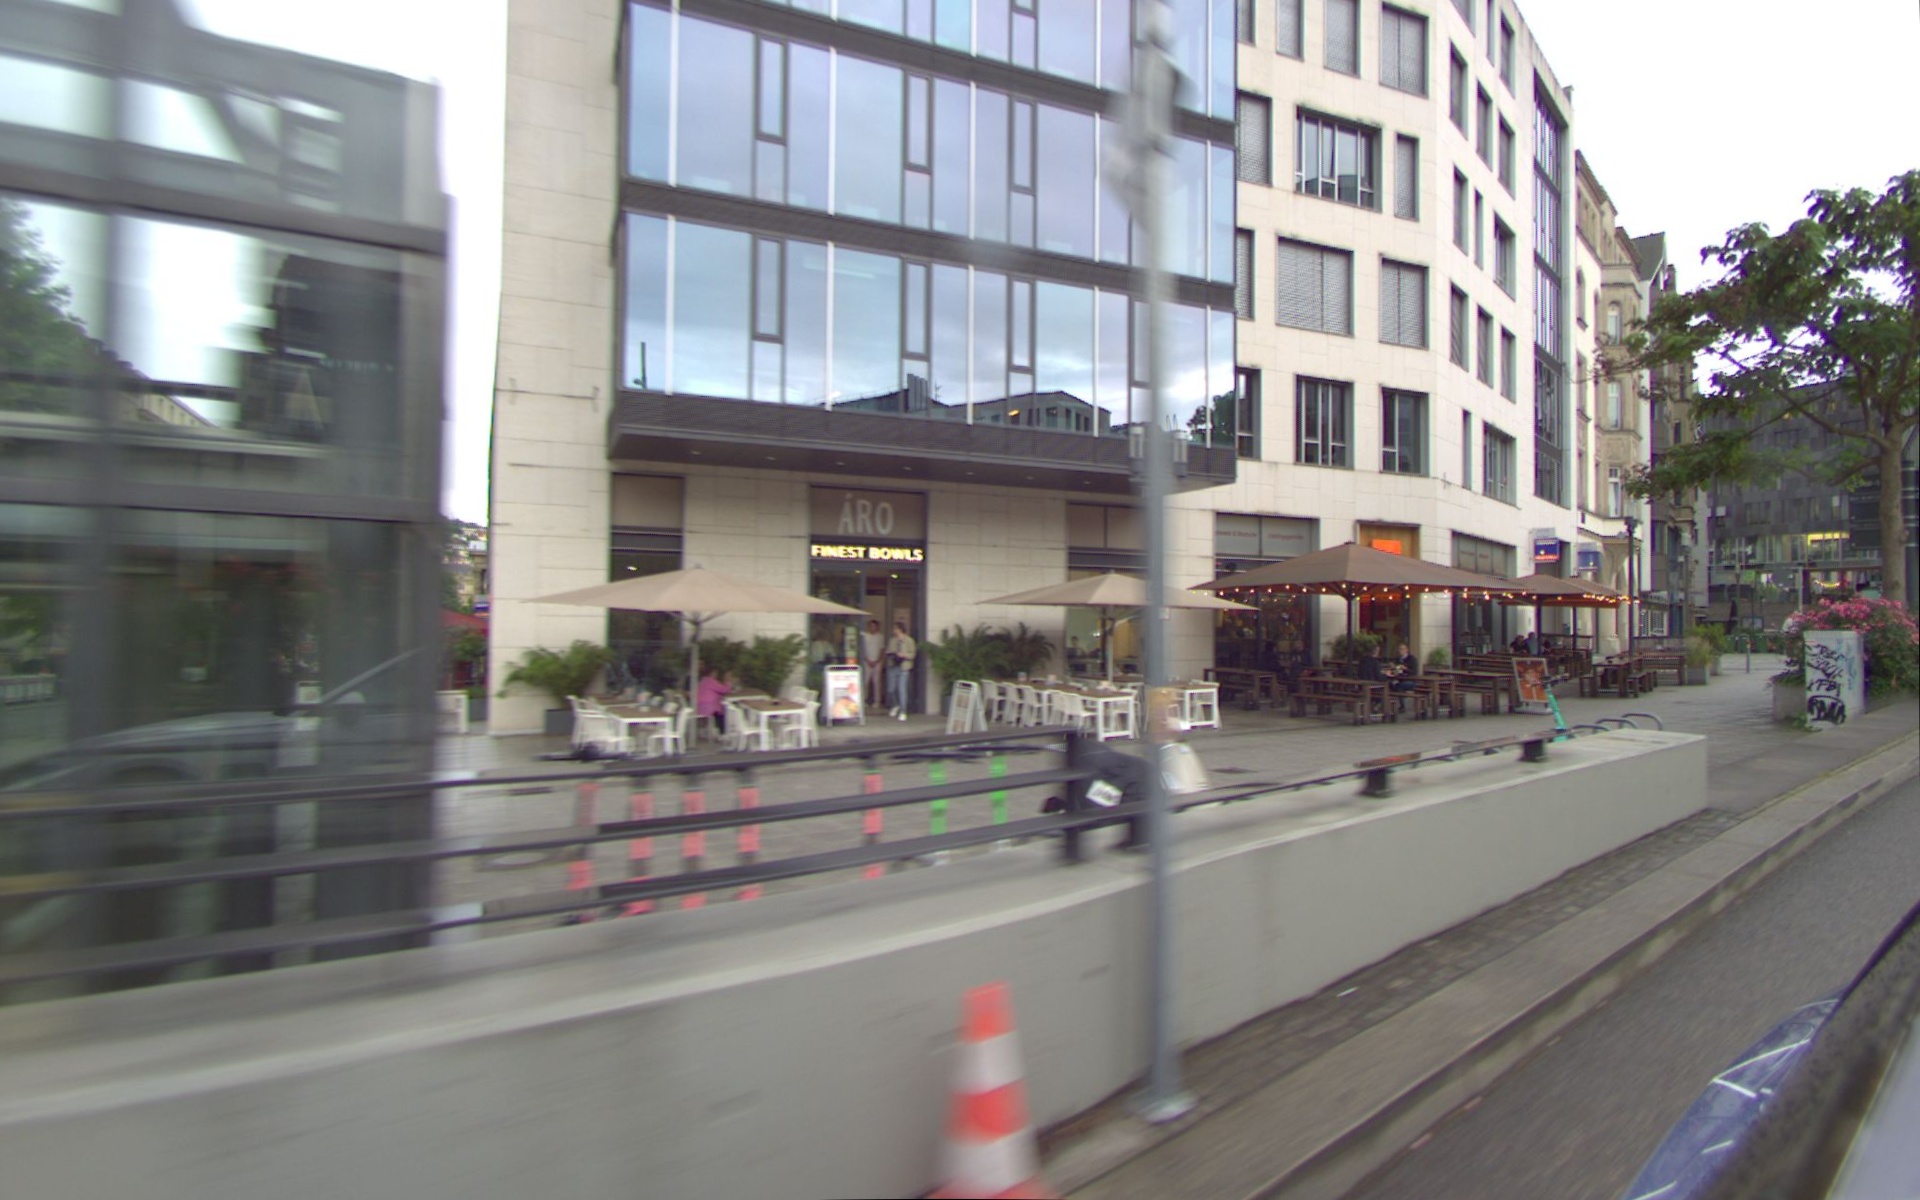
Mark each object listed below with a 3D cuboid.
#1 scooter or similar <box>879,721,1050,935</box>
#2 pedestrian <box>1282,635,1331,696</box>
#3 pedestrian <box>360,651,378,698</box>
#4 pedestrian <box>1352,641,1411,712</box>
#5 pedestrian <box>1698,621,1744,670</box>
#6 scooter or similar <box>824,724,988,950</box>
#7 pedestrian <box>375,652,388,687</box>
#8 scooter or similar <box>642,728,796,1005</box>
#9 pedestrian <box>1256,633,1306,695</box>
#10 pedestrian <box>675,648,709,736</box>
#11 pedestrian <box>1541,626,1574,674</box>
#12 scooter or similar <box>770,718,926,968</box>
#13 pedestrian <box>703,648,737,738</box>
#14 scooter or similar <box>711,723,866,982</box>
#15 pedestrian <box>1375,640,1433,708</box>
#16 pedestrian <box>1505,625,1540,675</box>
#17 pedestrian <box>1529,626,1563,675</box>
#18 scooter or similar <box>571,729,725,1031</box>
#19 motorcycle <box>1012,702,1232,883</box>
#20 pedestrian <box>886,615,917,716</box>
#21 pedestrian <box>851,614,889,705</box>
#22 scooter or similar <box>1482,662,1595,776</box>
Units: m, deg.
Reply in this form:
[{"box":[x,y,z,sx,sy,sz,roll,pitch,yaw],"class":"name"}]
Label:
[{"box":[0.009,1.438,6.673,0.522,1.173,1.114,1,-3,-40],"class":"scooter or similar"},{"box":[7.920,1.497,23.148,0.623,1.344,0.820,0,-3,-26],"class":"pedestrian"},{"box":[-22.358,2.807,38.292,0.560,1.723,0.559,0,-1,-26],"class":"pedestrian"},{"box":[8.356,1.506,20.085,0.623,1.344,0.820,0,-3,-26],"class":"pedestrian"},{"box":[21.698,1.297,28.873,0.623,1.344,0.777,0,-3,-27],"class":"pedestrian"},{"box":[-0.362,1.416,6.326,0.435,1.173,1.114,1,-3,-40],"class":"scooter or similar"},{"box":[-29.999,3.594,52.470,0.560,1.723,0.559,0,-1,-26],"class":"pedestrian"},{"box":[-1.342,1.379,5.535,0.358,1.251,1.114,1,-3,-40],"class":"scooter or similar"},{"box":[7.208,1.441,22.754,0.623,1.344,0.820,0,-3,-26],"class":"pedestrian"},{"box":[-4.501,1.530,16.996,0.468,1.421,0.437,0,-1,-24],"class":"pedestrian"},{"box":[17.112,1.420,28.973,0.626,1.344,0.626,-5,-4,43],"class":"pedestrian"},{"box":[-0.694,1.383,6.044,0.358,1.253,1.114,1,-3,-40],"class":"scooter or similar"},{"box":[-3.973,1.524,16.726,0.468,1.421,0.437,0,-1,-24],"class":"pedestrian"},{"box":[-1.009,1.373,5.795,0.358,1.232,1.114,1,-3,-40],"class":"scooter or similar"},{"box":[9.039,1.497,20.616,0.623,1.344,0.820,0,-3,-26],"class":"pedestrian"},{"box":[15.422,1.374,27.740,0.626,1.344,0.626,-5,-4,43],"class":"pedestrian"},{"box":[16.454,1.429,28.433,0.626,1.344,0.626,-5,-4,43],"class":"pedestrian"},{"box":[-1.641,1.365,5.243,0.358,1.286,1.114,1,-3,-40],"class":"scooter or similar"},{"box":[1.247,1.468,8.141,0.596,1.173,1.779,1,-2,-40],"class":"motorcycle"},{"box":[-1.137,1.261,19.760,0.575,1.918,0.642,-1,-1,-2],"class":"pedestrian"},{"box":[-1.953,1.269,21.990,0.575,1.918,0.642,0,-1,-33],"class":"pedestrian"},{"box":[6.960,1.403,12.202,1.088,1.288,0.474,-2,-3,40],"class":"scooter or similar"}]
